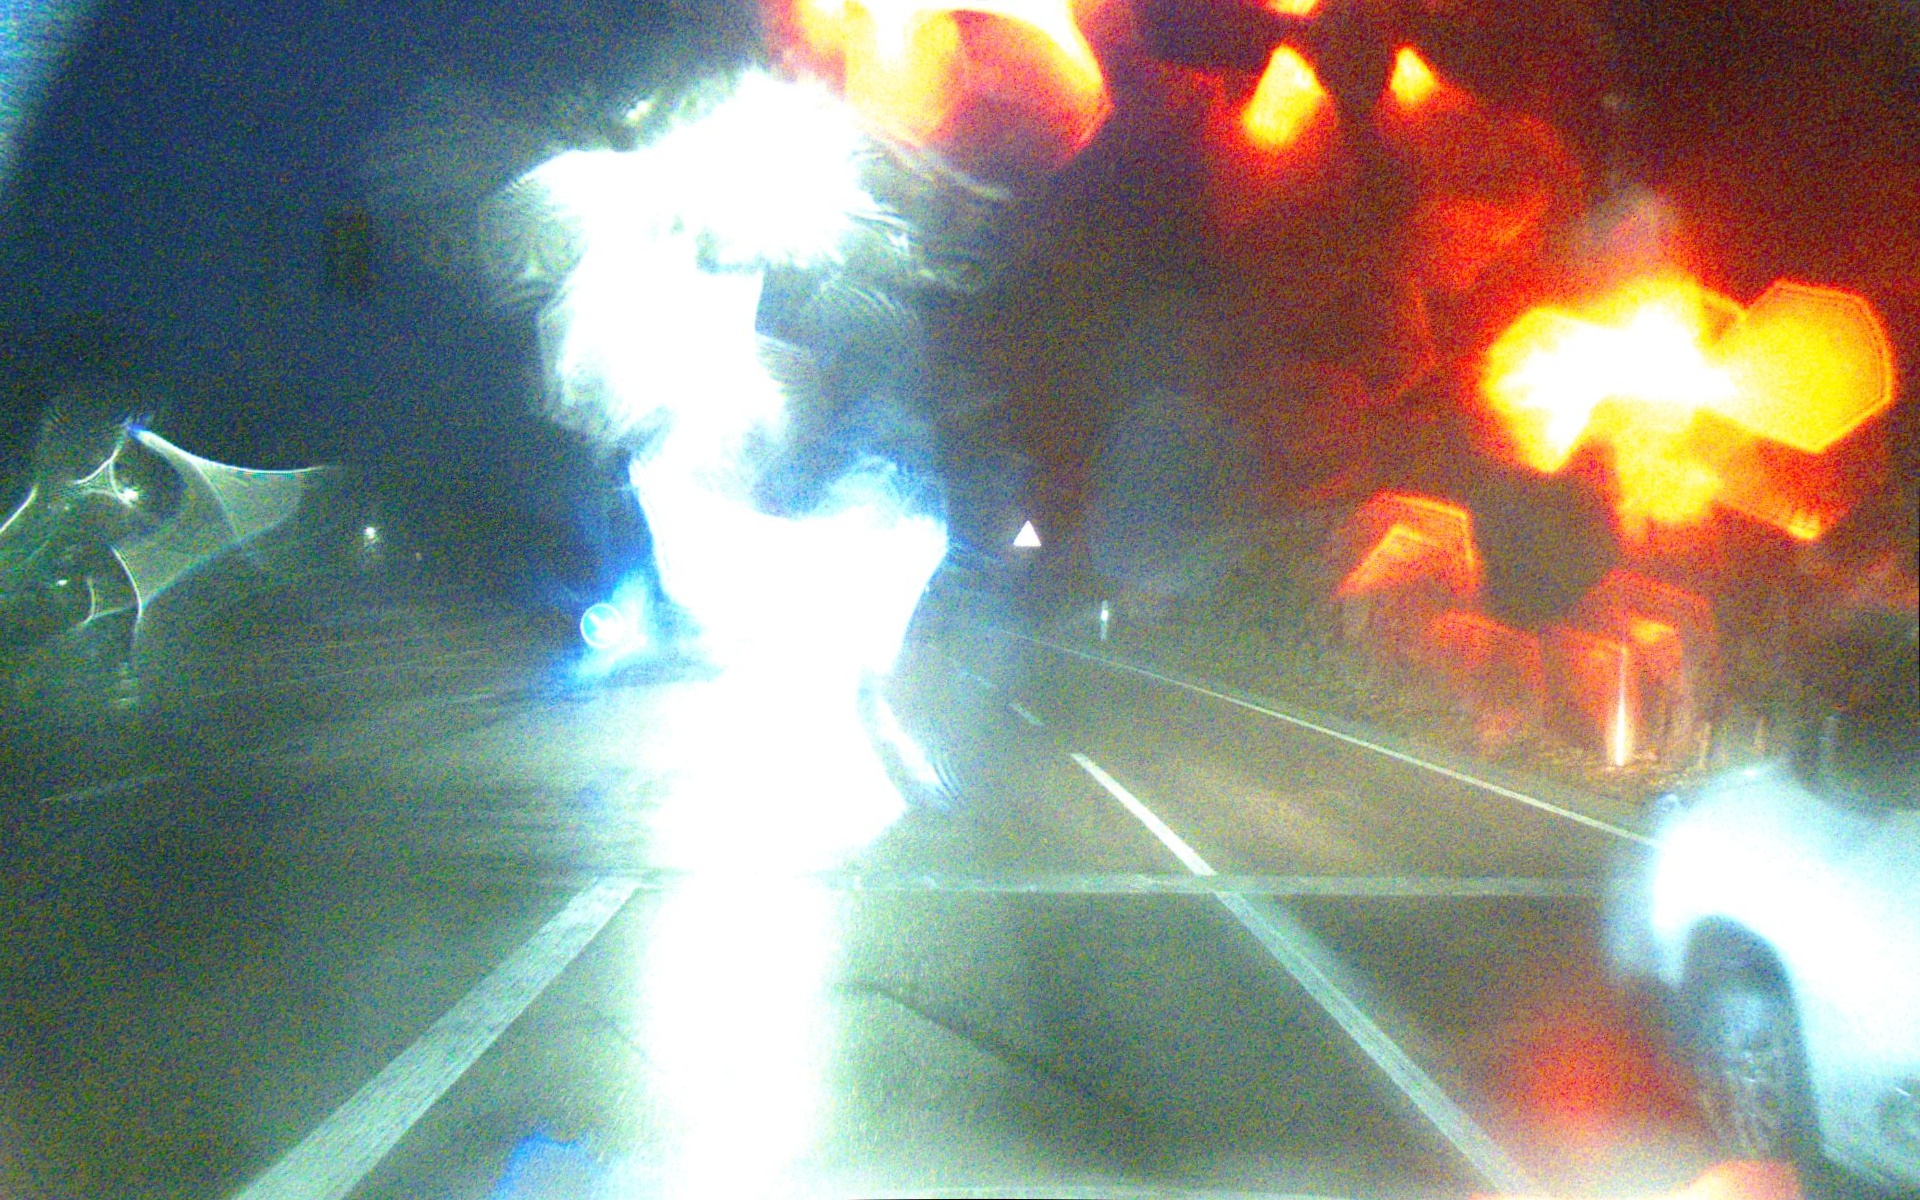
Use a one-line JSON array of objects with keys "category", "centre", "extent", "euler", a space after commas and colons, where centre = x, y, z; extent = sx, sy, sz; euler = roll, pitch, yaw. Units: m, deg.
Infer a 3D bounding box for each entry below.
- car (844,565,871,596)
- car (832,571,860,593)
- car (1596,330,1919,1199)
[{"category": "car", "centre": [-6.955, -1.324, 112.509], "extent": [1.756, 2.057, 4.577], "euler": [1, 0, -3]}, {"category": "car", "centre": [-10.640, -1.701, 155.097], "extent": [1.952, 1.746, 4.002], "euler": [5, -1, 4]}, {"category": "car", "centre": [2.914, 0.478, 2.773], "extent": [1.755, 2.057, 4.577], "euler": [1, 0, -2]}]
